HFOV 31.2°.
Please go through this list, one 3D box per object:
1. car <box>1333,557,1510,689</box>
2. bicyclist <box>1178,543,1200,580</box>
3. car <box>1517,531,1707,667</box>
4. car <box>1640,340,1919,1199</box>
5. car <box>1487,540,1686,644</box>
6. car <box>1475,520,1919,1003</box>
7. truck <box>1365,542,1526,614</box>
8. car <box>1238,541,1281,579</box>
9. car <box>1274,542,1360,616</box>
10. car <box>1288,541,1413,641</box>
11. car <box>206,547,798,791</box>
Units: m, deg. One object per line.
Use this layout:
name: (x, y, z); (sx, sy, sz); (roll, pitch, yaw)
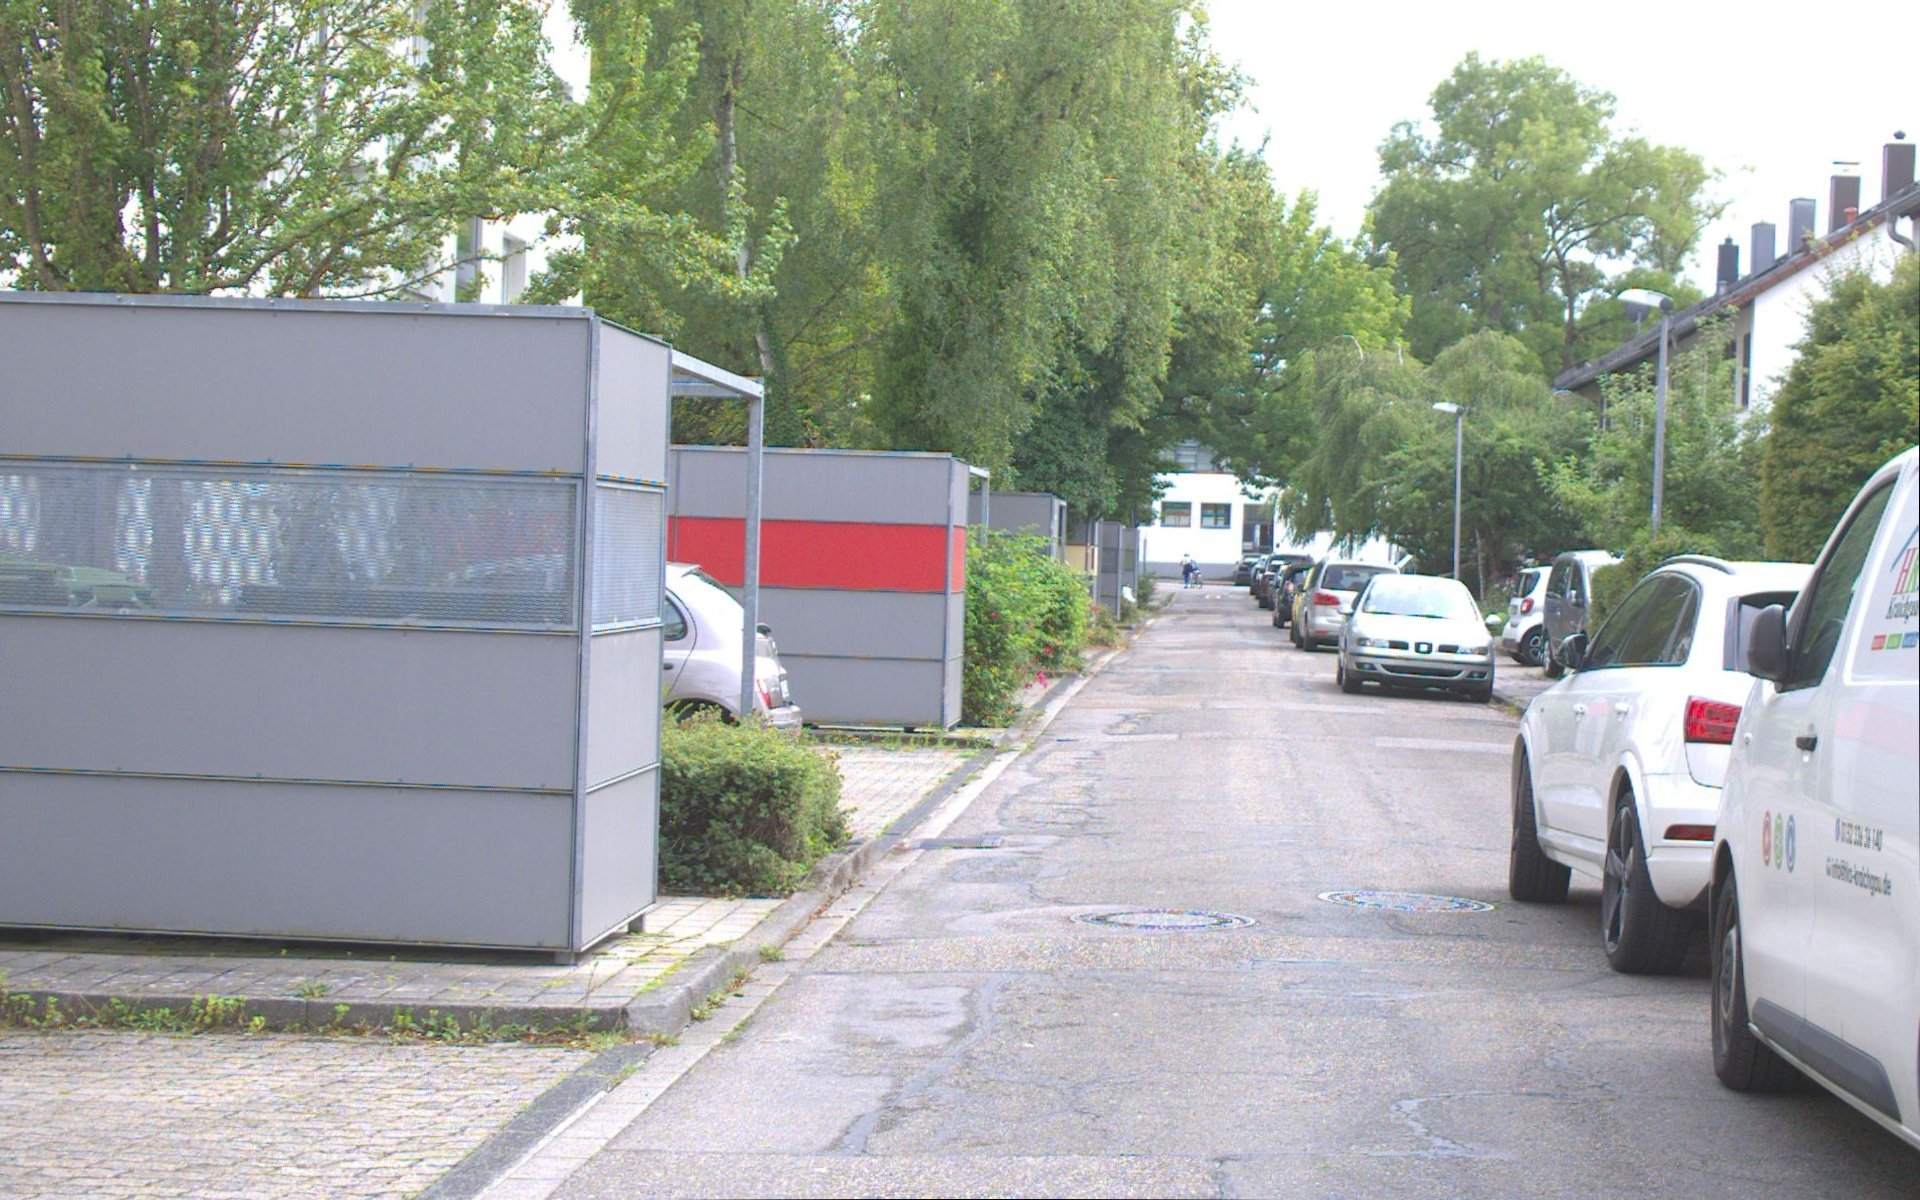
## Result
car: (5.500, 0.234, 41.392); (1.825, 1.365, 4.330); (4, 1, 5)
bicyclist: (9.659, -1.625, 145.118); (0.799, 1.506, 0.933); (3, 1, 7)
car: (9.001, -0.028, 47.772); (1.825, 1.771, 4.341); (-1, 0, 1)
car: (2.978, 0.466, 8.183); (1.904, 1.958, 5.253); (3, 1, 4)
car: (9.720, -0.129, 53.471); (2.816, 1.564, 1.741); (-1, 1, 2)
car: (3.317, 0.548, 14.036); (1.825, 1.630, 4.162); (3, 1, 1)
truck: (13.793, -0.636, 97.880); (4.390, 2.007, 2.000); (0, 1, 4)
car: (13.726, -1.848, 157.569); (1.825, 1.576, 3.999); (4, 1, 5)
car: (8.284, -0.509, 79.968); (1.825, 1.576, 4.192); (4, 1, 5)
car: (6.749, -0.188, 59.784); (1.825, 1.576, 4.000); (4, 1, 3)
car: (-2.868, 0.410, 22.072); (3.561, 1.475, 1.711); (0, 1, 0)
